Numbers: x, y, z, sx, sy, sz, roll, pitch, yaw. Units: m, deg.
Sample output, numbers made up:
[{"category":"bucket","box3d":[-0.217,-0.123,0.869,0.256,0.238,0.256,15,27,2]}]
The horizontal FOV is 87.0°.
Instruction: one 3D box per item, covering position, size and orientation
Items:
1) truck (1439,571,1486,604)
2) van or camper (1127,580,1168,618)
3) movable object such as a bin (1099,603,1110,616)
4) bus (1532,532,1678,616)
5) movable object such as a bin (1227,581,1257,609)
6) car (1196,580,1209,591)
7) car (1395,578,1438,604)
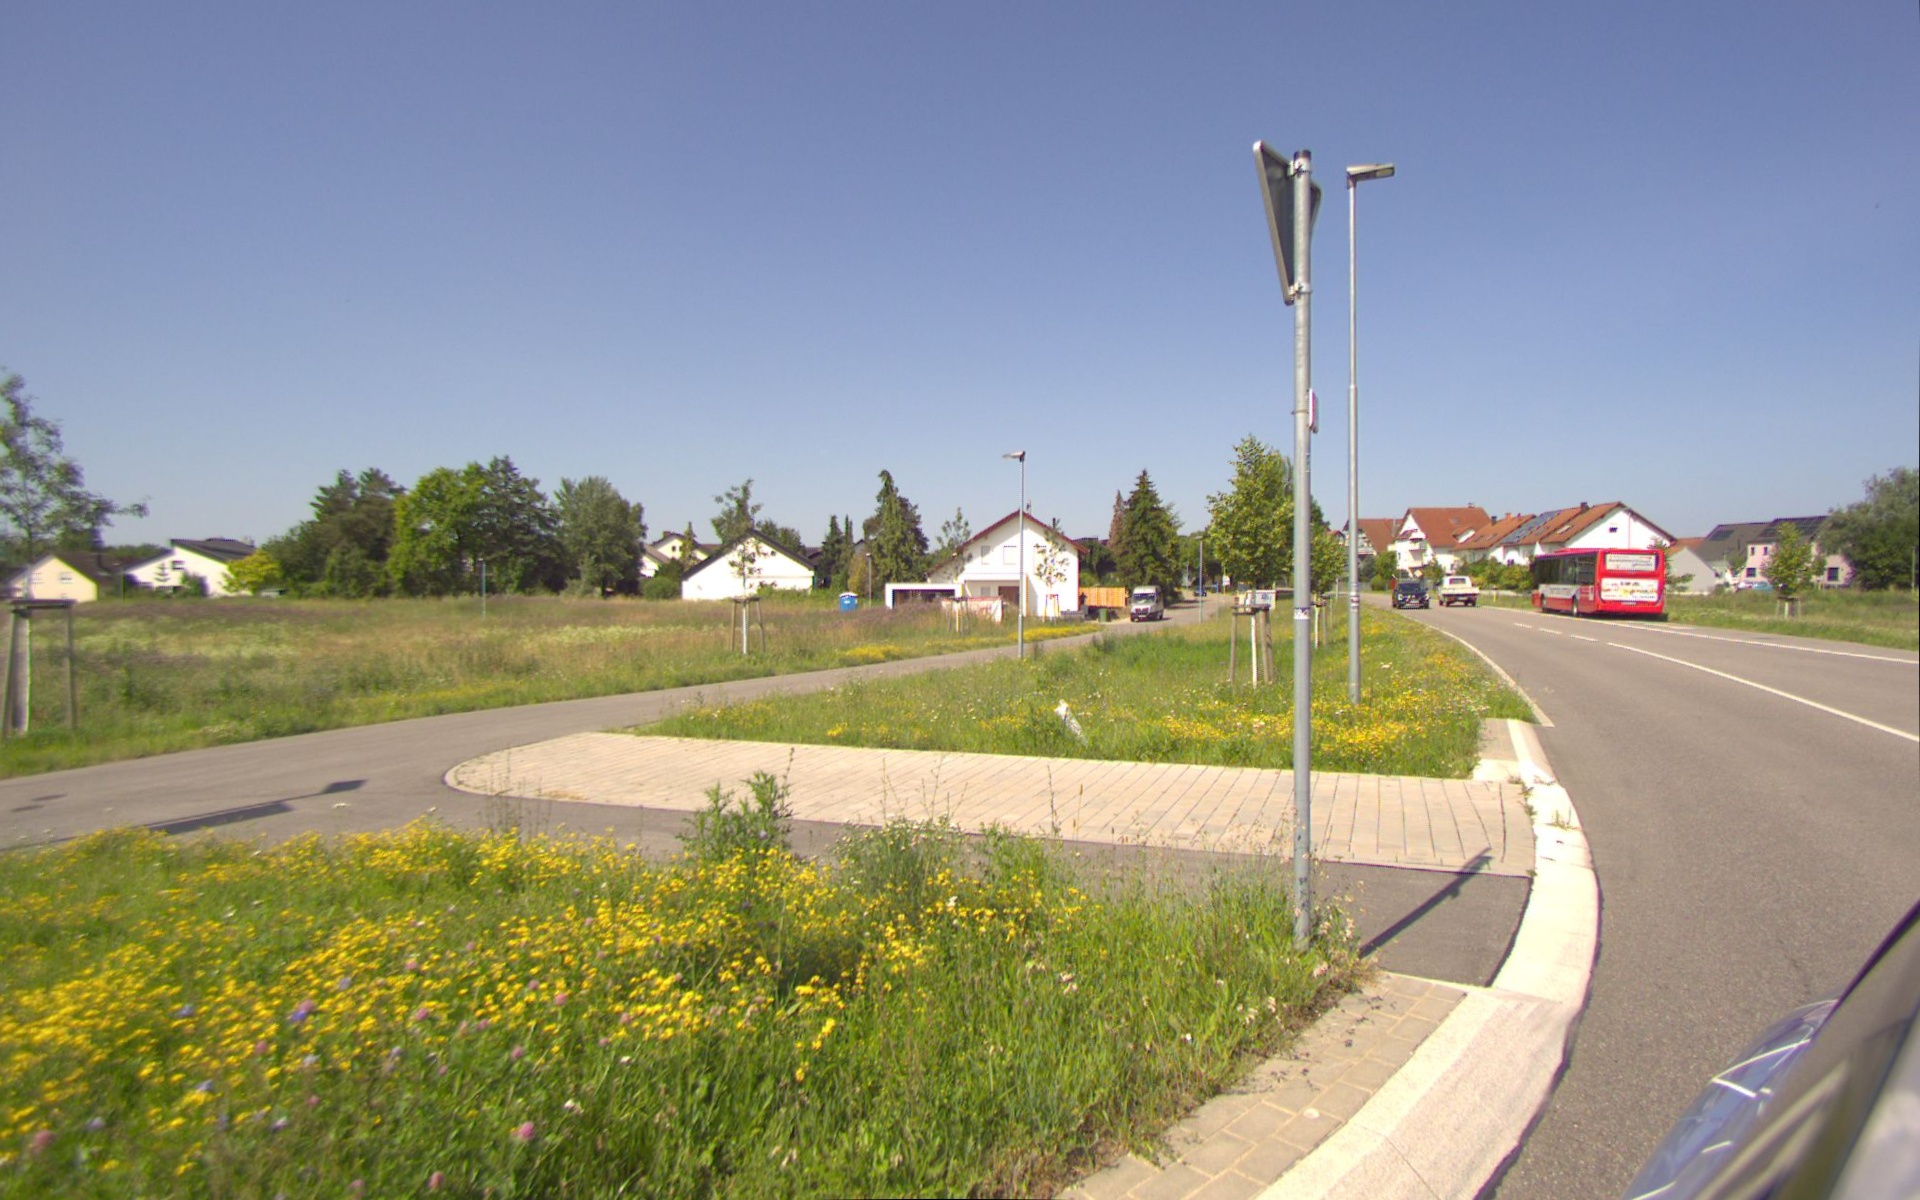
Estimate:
[{"category":"truck","box3d":[32.859,-0.839,66.319,1.932,2.010,5.611,-1,0,18]},{"category":"van or camper","box3d":[14.167,-0.133,76.118,2.151,2.633,5.995,-1,2,19]},{"category":"movable object such as a bin","box3d":[10.596,0.686,74.174,0.687,0.949,0.633,-1,0,24]},{"category":"bus","box3d":[29.622,-1.187,47.198,2.767,3.327,12.155,2,2,19]},{"category":"movable object such as a bin","box3d":[26.605,-0.502,95.351,2.293,2.494,6.904,0,0,19]},{"category":"car","box3d":[36.541,-2.173,152.525,1.838,1.463,4.150,-2,1,15]},{"category":"car","box3d":[28.458,-0.576,63.216,1.908,1.581,3.980,0,1,16]}]
